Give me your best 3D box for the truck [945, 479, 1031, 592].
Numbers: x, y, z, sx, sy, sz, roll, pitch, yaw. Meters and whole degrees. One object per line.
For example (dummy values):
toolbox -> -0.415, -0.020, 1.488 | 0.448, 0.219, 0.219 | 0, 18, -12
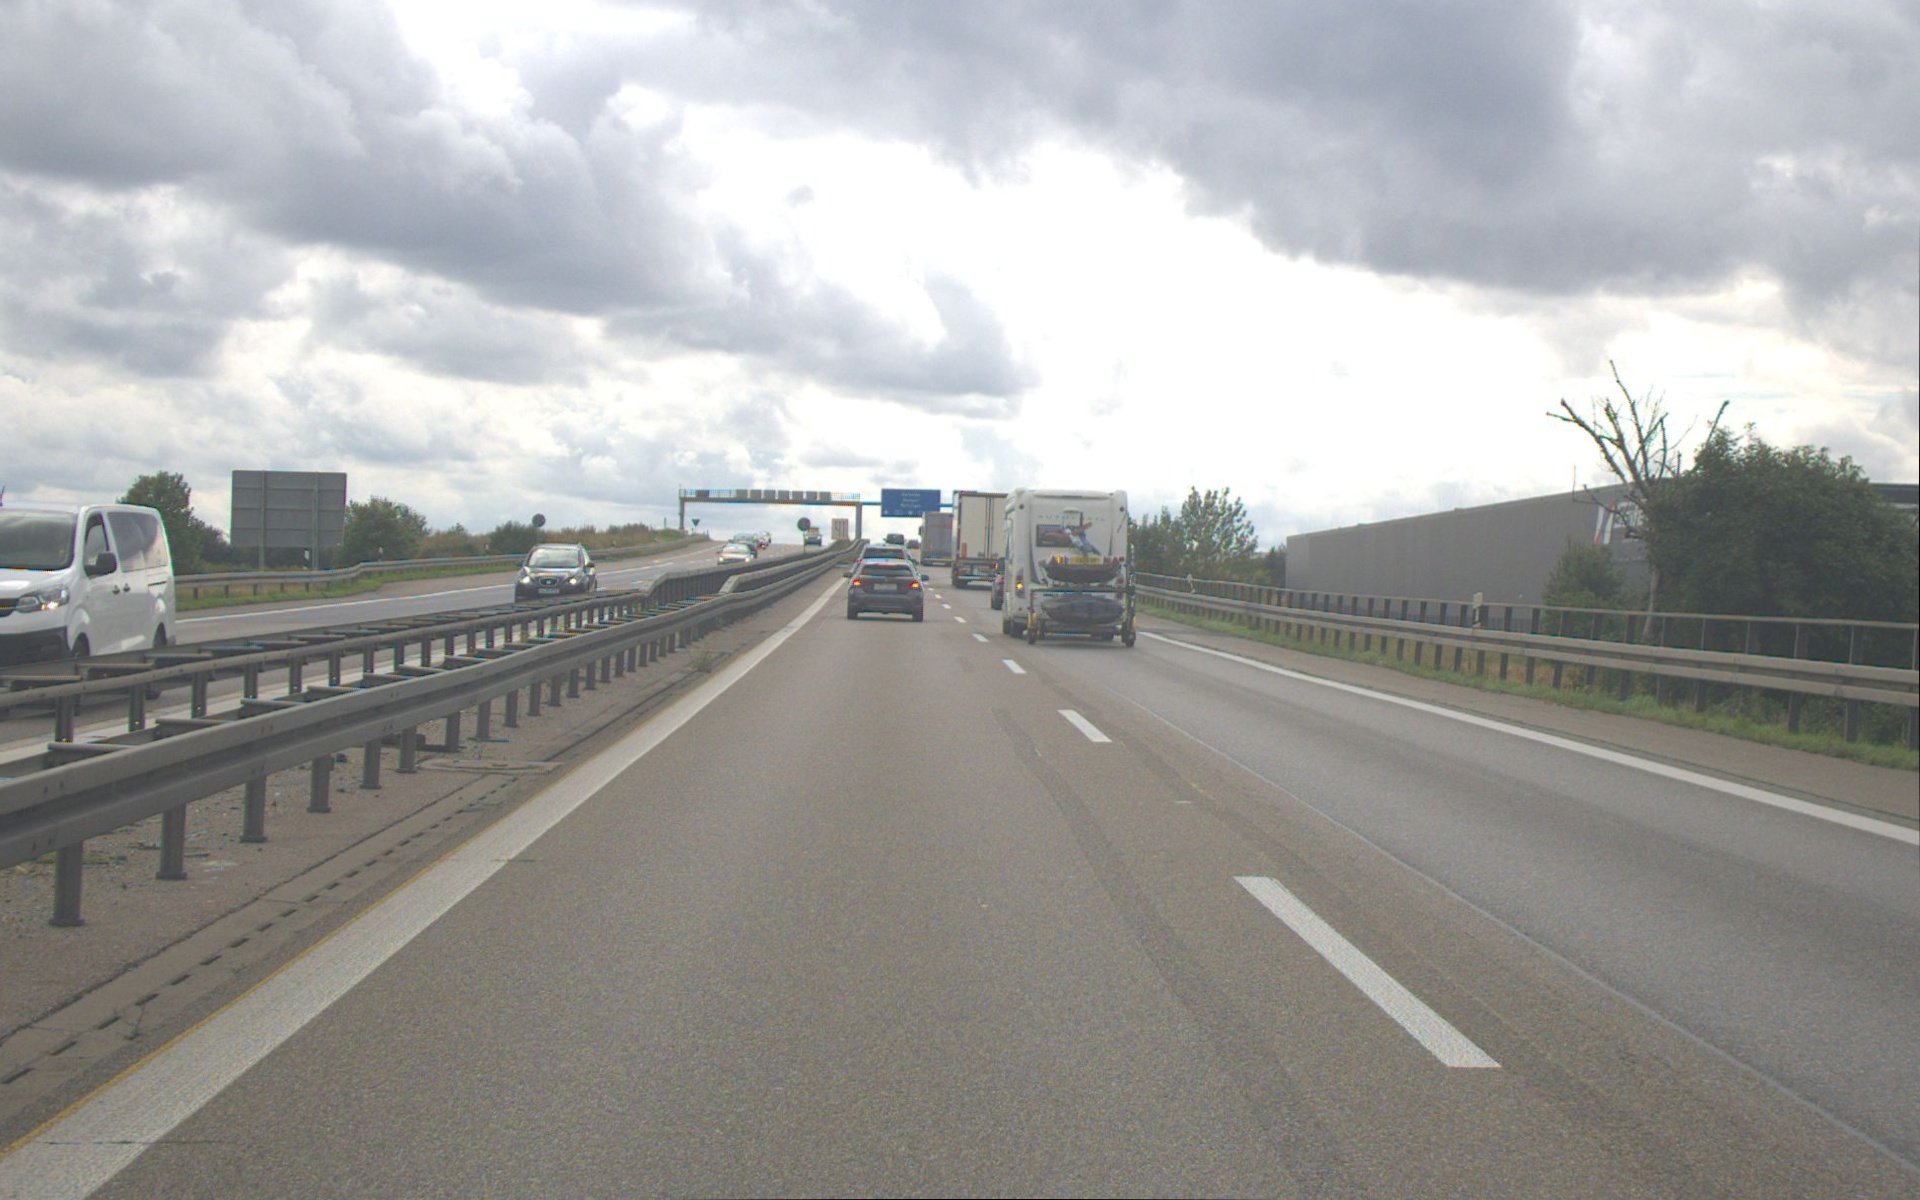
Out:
truck -> 1.122, -2.638, 144.694 | 3.339, 4.519, 8.017 | 1, 0, -1

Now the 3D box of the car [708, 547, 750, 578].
car -> -11.842, -1.907, 176.218 | 1.906, 1.508, 4.730 | 1, 0, -1

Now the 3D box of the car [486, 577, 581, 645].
car -> -10.386, 0.260, 84.006 | 1.841, 1.571, 4.000 | 1, 0, -1

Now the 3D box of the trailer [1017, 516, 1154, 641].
trailer -> 2.226, -0.368, 61.757 | 2.338, 2.129, 4.000 | 1, 0, 1

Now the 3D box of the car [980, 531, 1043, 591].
car -> 1.518, -1.129, 101.498 | 1.801, 1.679, 4.000 | 1, 0, 1

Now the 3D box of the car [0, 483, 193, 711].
car -> -8.464, -0.038, 31.162 | 1.828, 1.878, 5.419 | 1, 0, -1

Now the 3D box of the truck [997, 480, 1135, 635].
truck -> 2.066, -0.819, 68.936 | 2.482, 2.940, 5.815 | 1, 0, 0

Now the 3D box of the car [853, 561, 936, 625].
car -> -1.530, -0.171, 81.684 | 1.746, 1.448, 4.000 | 1, 0, 2
